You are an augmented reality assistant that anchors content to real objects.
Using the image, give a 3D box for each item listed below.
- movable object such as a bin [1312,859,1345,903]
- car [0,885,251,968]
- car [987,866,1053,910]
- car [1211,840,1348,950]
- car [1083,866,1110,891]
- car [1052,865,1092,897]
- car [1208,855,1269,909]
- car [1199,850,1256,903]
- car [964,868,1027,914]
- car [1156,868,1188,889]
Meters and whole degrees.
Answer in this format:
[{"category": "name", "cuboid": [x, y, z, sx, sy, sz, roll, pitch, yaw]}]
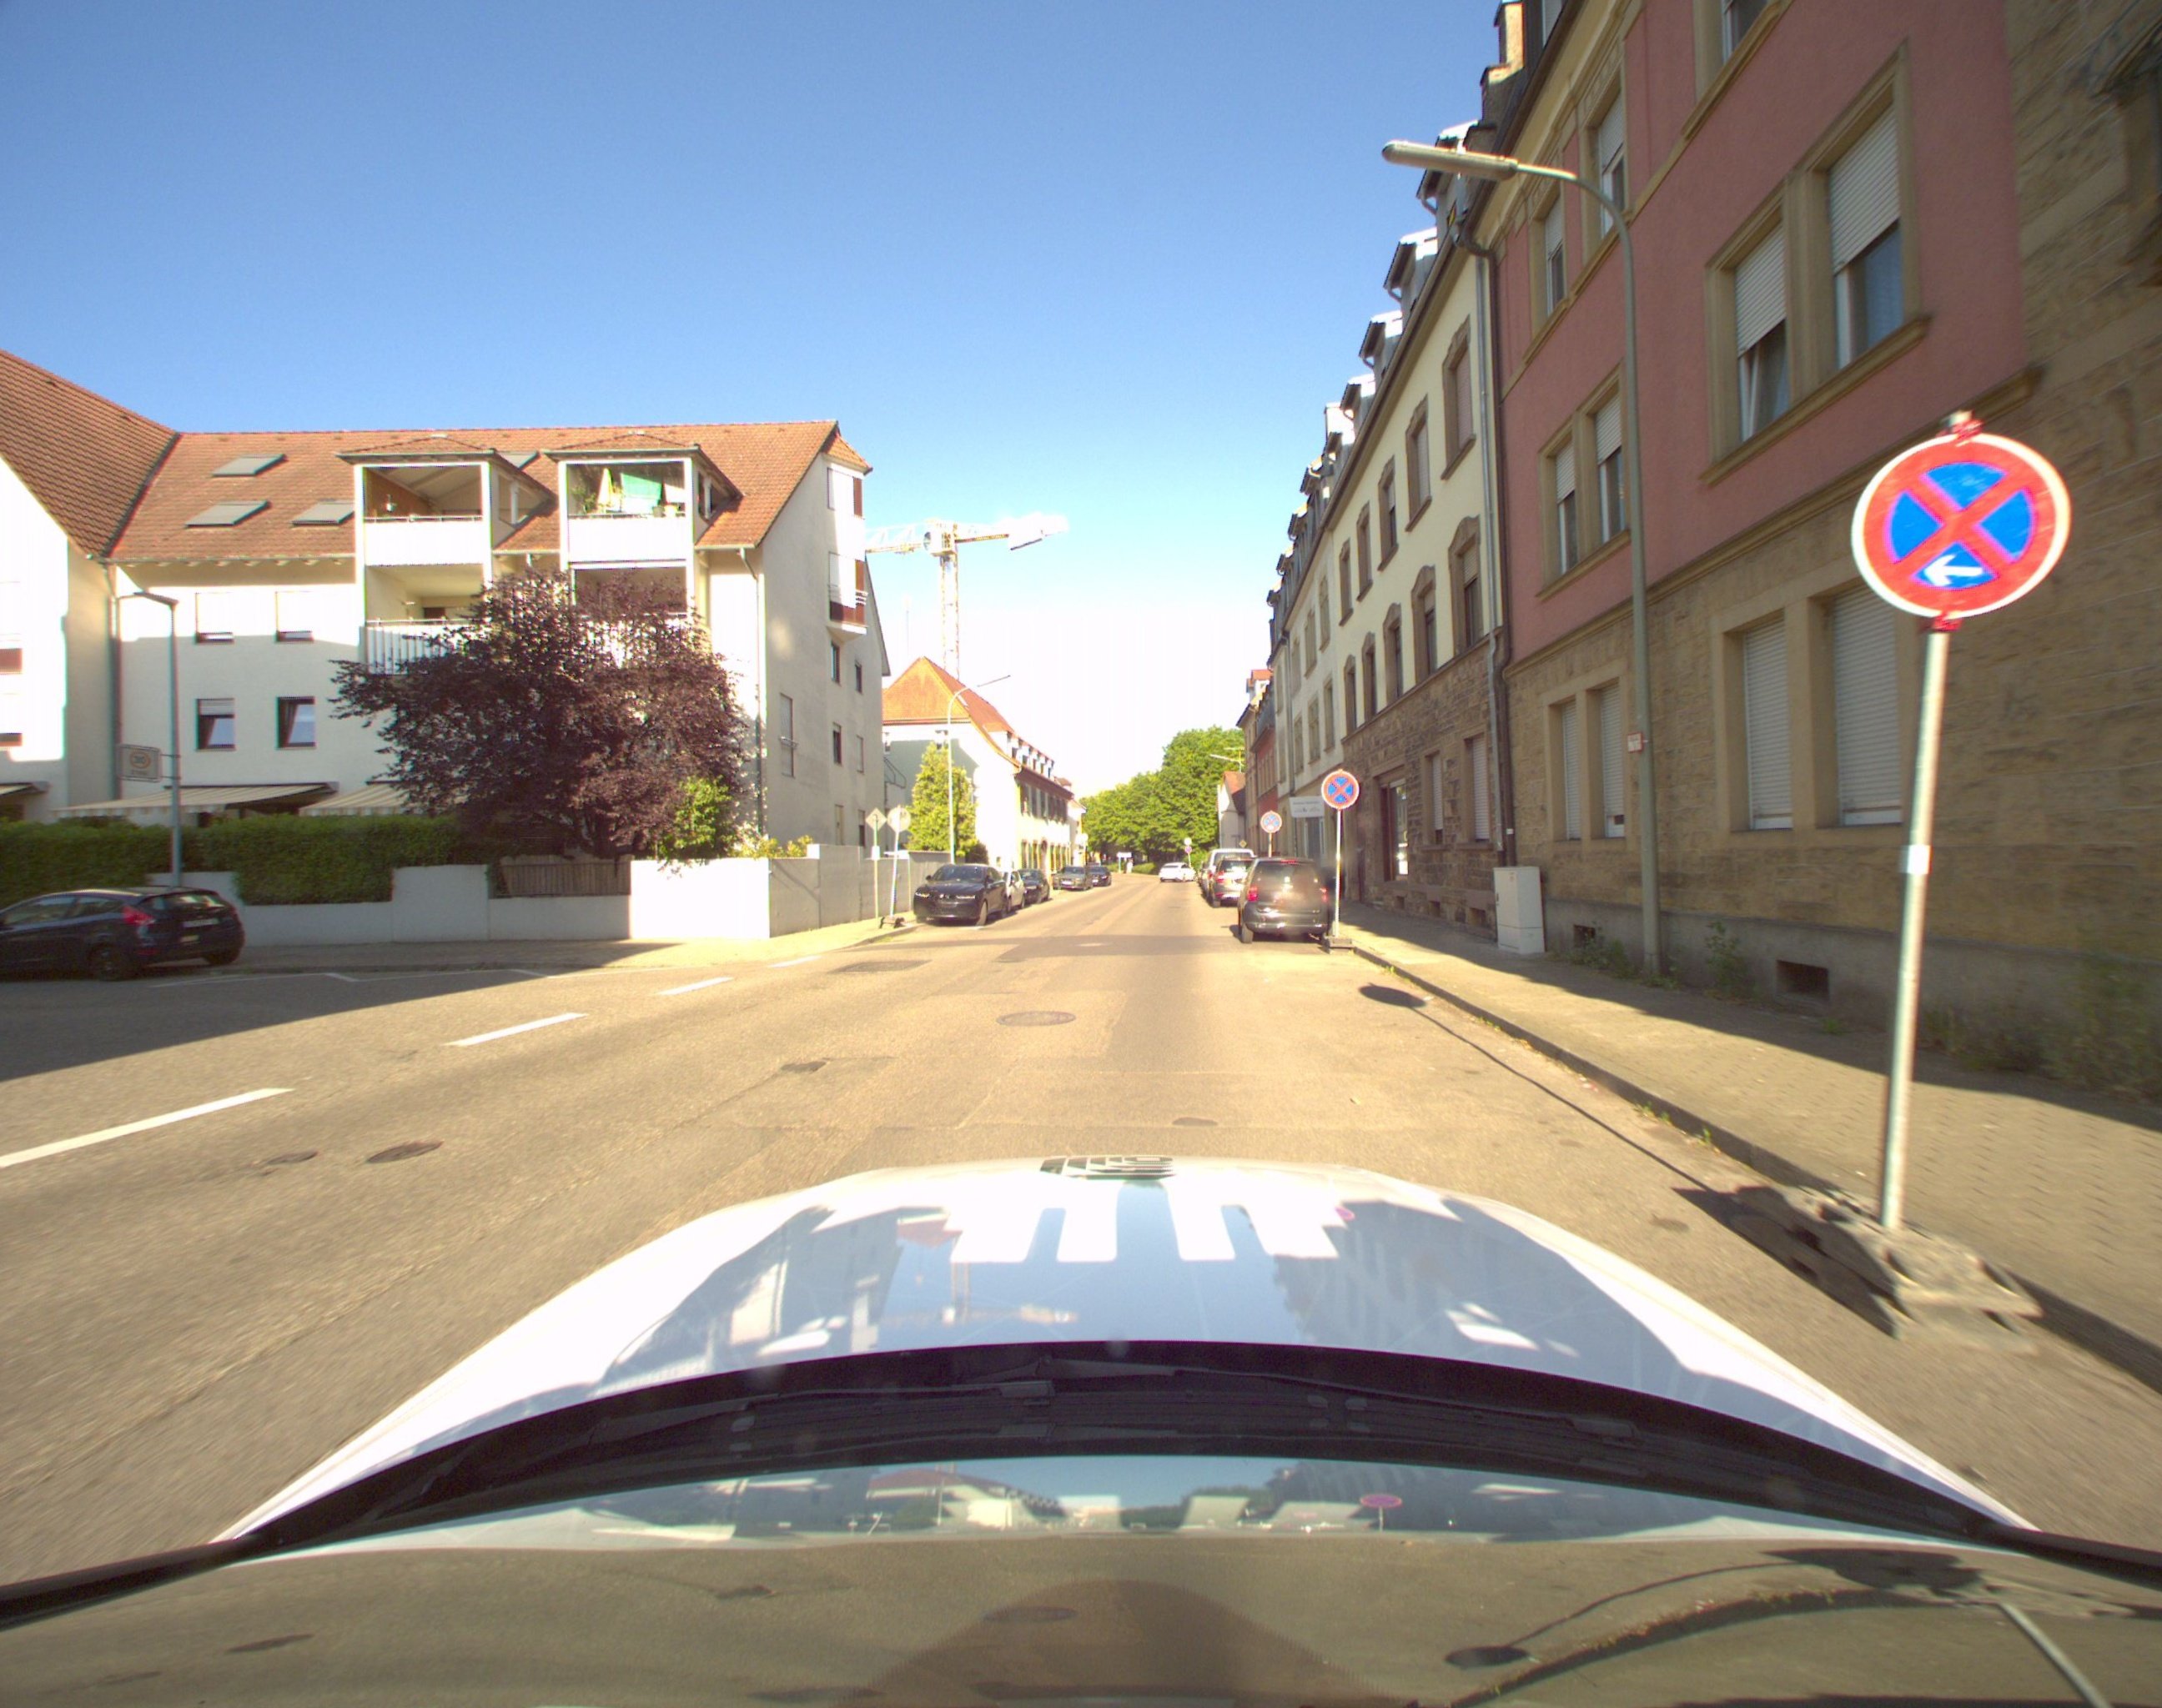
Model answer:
[{"category": "movable object such as a bin", "cuboid": [8.012, 0.868, 26.360, 0.867, 1.378, 0.686, -2, -1, 6]}, {"category": "car", "cuboid": [-16.320, 1.175, 13.495, 3.526, 1.181, 1.617, -2, -1, 2]}, {"category": "car", "cuboid": [-2.466, 1.366, 33.859, 2.082, 1.631, 3.827, -2, -1, 5]}, {"category": "car", "cuboid": [3.700, 0.713, 15.877, 2.001, 1.853, 4.005, 1, -1, 5]}, {"category": "car", "cuboid": [1.097, 1.685, 56.957, 1.623, 1.631, 3.179, -2, -1, 5]}, {"category": "car", "cuboid": [-0.464, 1.555, 48.109, 1.901, 1.760, 4.134, -2, -1, 5]}, {"category": "car", "cuboid": [5.174, 0.900, 27.166, 1.807, 1.631, 4.010, -2, -1, 9]}, {"category": "car", "cuboid": [5.693, 0.854, 32.070, 1.832, 1.906, 4.006, -2, -1, 5]}, {"category": "car", "cuboid": [-2.882, 1.224, 27.912, 1.546, 1.458, 3.065, -2, -1, 5]}, {"category": "car", "cuboid": [6.700, 1.797, 60.292, 1.987, 1.467, 4.000, -1, -1, 1]}]
